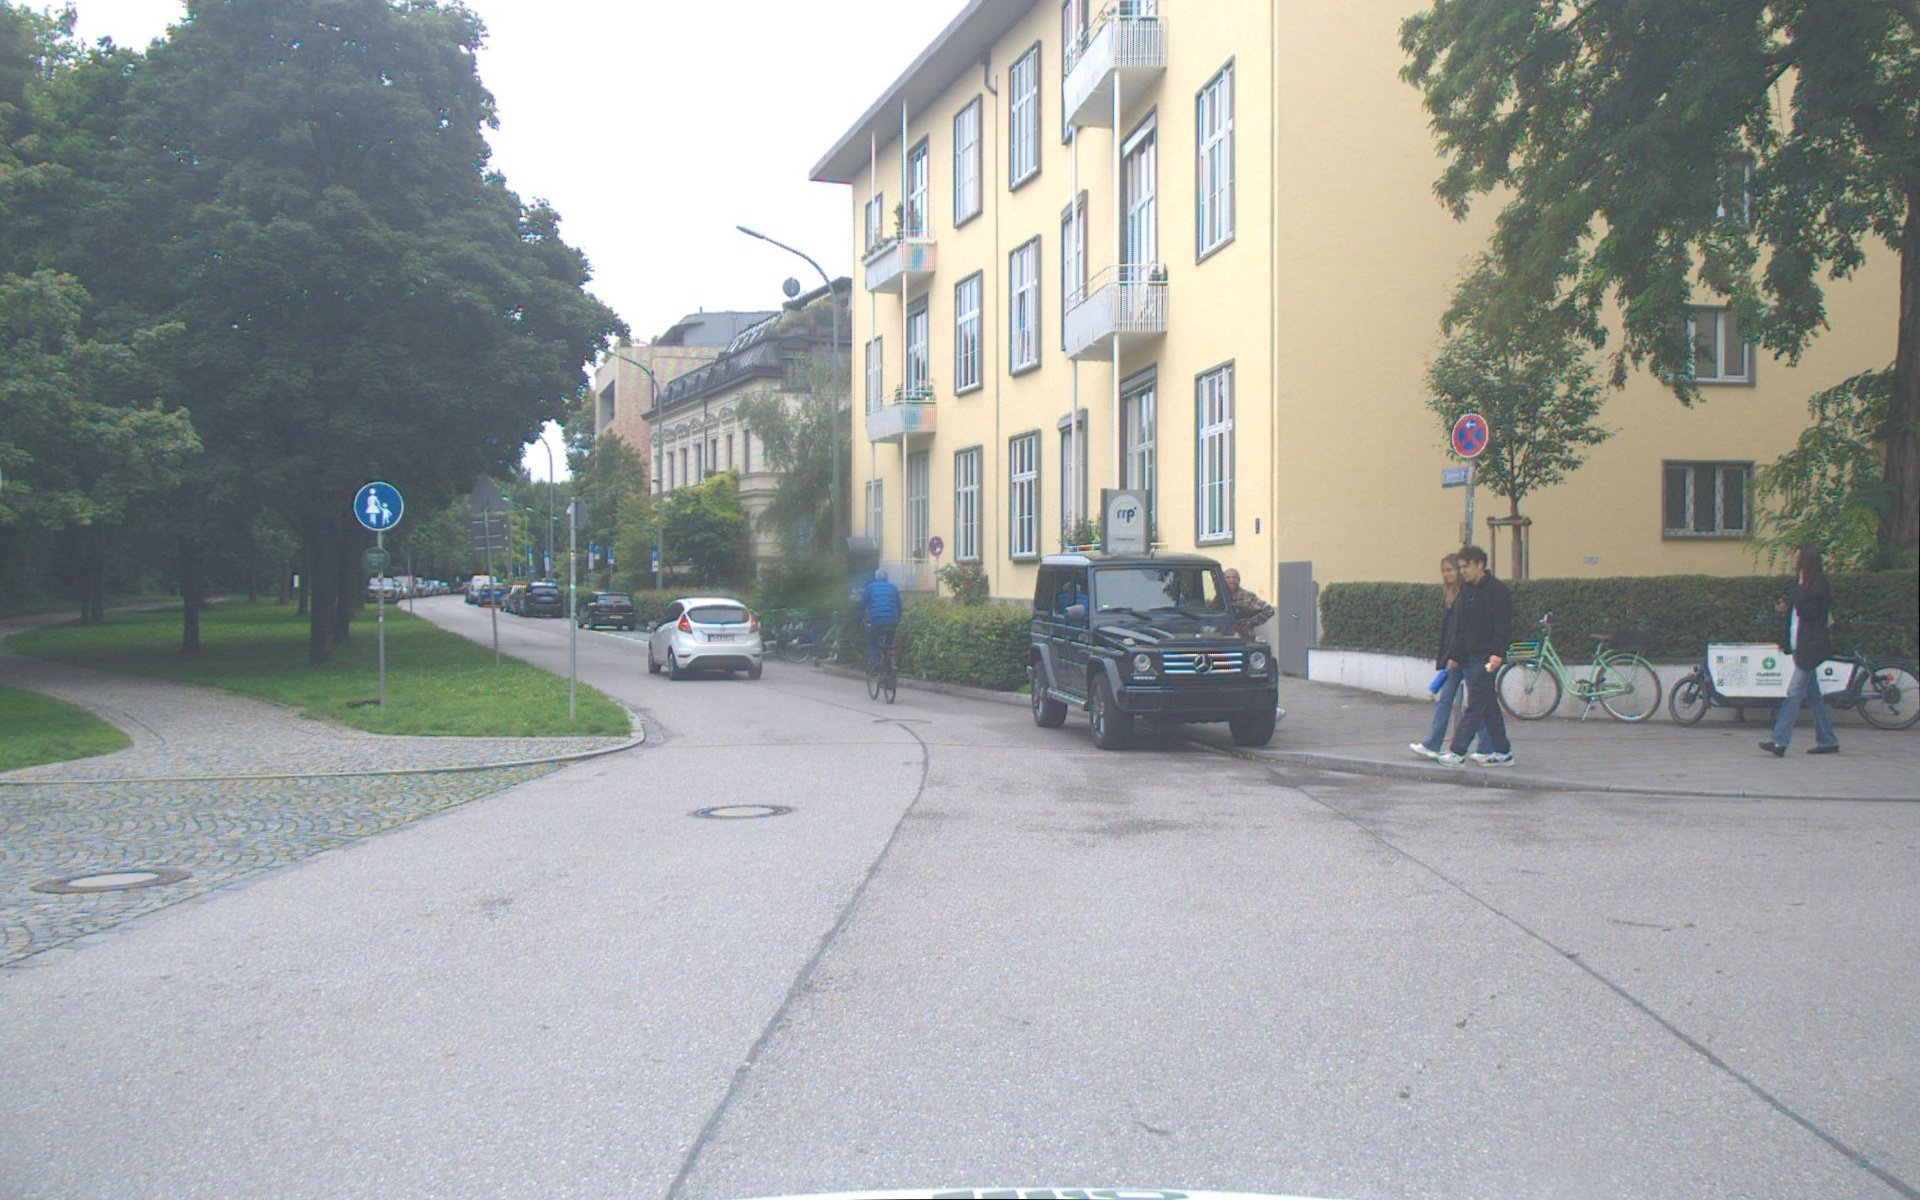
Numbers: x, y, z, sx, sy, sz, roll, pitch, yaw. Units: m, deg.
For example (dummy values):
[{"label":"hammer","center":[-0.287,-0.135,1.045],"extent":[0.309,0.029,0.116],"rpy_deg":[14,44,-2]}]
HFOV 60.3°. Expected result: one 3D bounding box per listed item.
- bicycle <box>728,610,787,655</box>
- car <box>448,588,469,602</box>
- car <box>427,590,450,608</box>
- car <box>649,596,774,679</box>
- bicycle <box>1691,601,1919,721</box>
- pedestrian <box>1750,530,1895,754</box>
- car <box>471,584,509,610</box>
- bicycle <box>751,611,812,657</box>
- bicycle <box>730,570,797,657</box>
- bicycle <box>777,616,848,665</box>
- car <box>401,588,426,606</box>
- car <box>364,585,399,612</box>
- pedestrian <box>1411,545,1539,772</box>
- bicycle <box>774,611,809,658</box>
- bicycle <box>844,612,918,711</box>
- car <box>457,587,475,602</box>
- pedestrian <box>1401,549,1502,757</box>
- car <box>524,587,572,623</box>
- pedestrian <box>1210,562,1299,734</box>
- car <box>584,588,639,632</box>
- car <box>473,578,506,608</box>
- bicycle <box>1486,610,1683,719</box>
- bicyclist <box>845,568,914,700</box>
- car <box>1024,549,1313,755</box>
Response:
[{"label":"bicycle","center":[-4.997,0.795,40.839],"extent":[0.402,1.032,1.528],"rpy_deg":[-1,1,43]},{"label":"car","center":[-58.066,-0.612,191.489],"extent":[1.959,1.628,4.454],"rpy_deg":[-1,0,-12]},{"label":"car","center":[-53.009,-0.098,168.248],"extent":[1.770,1.687,4.238],"rpy_deg":[-1,0,-11]},{"label":"car","center":[-4.728,0.648,31.076],"extent":[1.721,1.431,3.708],"rpy_deg":[-1,0,-18]},{"label":"bicycle","center":[8.447,0.596,16.407],"extent":[2.123,1.135,0.641],"rpy_deg":[-1,0,20]},{"label":"pedestrian","center":[7.562,0.360,14.530],"extent":[0.832,1.890,0.767],"rpy_deg":[-2,0,2]},{"label":"car","center":[-30.218,-0.200,106.259],"extent":[1.966,1.628,4.226],"rpy_deg":[-1,0,-22]},{"label":"bicycle","center":[-4.313,0.813,39.950],"extent":[1.524,1.032,0.361],"rpy_deg":[-2,1,-42]},{"label":"bicycle","center":[-4.772,0.317,40.297],"extent":[0.449,2.049,1.666],"rpy_deg":[-1,1,43]},{"label":"bicycle","center":[-3.303,0.905,37.025],"extent":[1.512,1.032,0.364],"rpy_deg":[-2,1,-23]},{"label":"car","center":[-49.117,-0.270,148.816],"extent":[1.961,1.628,4.447],"rpy_deg":[-1,0,-16]},{"label":"car","center":[-36.485,-0.088,104.298],"extent":[1.965,1.628,4.440],"rpy_deg":[-1,0,-21]},{"label":"pedestrian","center":[4.300,0.480,13.869],"extent":[0.968,1.841,0.660],"rpy_deg":[-1,0,15]},{"label":"bicycle","center":[-3.950,0.795,38.857],"extent":[0.358,1.032,1.539],"rpy_deg":[-2,1,11]},{"label":"bicycle","center":[-1.142,0.837,23.433],"extent":[0.903,1.274,2.318],"rpy_deg":[-1,1,-6]},{"label":"car","center":[-58.886,-0.635,197.294],"extent":[1.772,1.687,4.235],"rpy_deg":[-1,0,-14]},{"label":"pedestrian","center":[4.339,0.449,14.593],"extent":[0.809,1.776,0.741],"rpy_deg":[-1,0,18]},{"label":"car","center":[-20.331,0.228,81.499],"extent":[1.768,1.709,3.974],"rpy_deg":[-1,1,-22]},{"label":"pedestrian","center":[3.161,0.496,17.814],"extent":[0.830,1.788,0.954],"rpy_deg":[-1,0,5]},{"label":"car","center":[-13.239,0.358,62.799],"extent":[1.622,1.585,3.540],"rpy_deg":[-1,1,-19]},{"label":"car","center":[-32.804,-0.487,115.150],"extent":[2.034,2.000,4.952],"rpy_deg":[-1,0,-18]},{"label":"bicycle","center":[6.680,0.696,17.761],"extent":[0.525,1.103,1.919],"rpy_deg":[0,-2,-43]},{"label":"bicyclist","center":[-1.152,0.463,23.410],"extent":[0.896,1.795,1.213],"rpy_deg":[-1,0,-6]},{"label":"car","center":[2.089,0.462,18.013],"extent":[1.839,1.920,4.608],"rpy_deg":[-1,1,-10]}]
